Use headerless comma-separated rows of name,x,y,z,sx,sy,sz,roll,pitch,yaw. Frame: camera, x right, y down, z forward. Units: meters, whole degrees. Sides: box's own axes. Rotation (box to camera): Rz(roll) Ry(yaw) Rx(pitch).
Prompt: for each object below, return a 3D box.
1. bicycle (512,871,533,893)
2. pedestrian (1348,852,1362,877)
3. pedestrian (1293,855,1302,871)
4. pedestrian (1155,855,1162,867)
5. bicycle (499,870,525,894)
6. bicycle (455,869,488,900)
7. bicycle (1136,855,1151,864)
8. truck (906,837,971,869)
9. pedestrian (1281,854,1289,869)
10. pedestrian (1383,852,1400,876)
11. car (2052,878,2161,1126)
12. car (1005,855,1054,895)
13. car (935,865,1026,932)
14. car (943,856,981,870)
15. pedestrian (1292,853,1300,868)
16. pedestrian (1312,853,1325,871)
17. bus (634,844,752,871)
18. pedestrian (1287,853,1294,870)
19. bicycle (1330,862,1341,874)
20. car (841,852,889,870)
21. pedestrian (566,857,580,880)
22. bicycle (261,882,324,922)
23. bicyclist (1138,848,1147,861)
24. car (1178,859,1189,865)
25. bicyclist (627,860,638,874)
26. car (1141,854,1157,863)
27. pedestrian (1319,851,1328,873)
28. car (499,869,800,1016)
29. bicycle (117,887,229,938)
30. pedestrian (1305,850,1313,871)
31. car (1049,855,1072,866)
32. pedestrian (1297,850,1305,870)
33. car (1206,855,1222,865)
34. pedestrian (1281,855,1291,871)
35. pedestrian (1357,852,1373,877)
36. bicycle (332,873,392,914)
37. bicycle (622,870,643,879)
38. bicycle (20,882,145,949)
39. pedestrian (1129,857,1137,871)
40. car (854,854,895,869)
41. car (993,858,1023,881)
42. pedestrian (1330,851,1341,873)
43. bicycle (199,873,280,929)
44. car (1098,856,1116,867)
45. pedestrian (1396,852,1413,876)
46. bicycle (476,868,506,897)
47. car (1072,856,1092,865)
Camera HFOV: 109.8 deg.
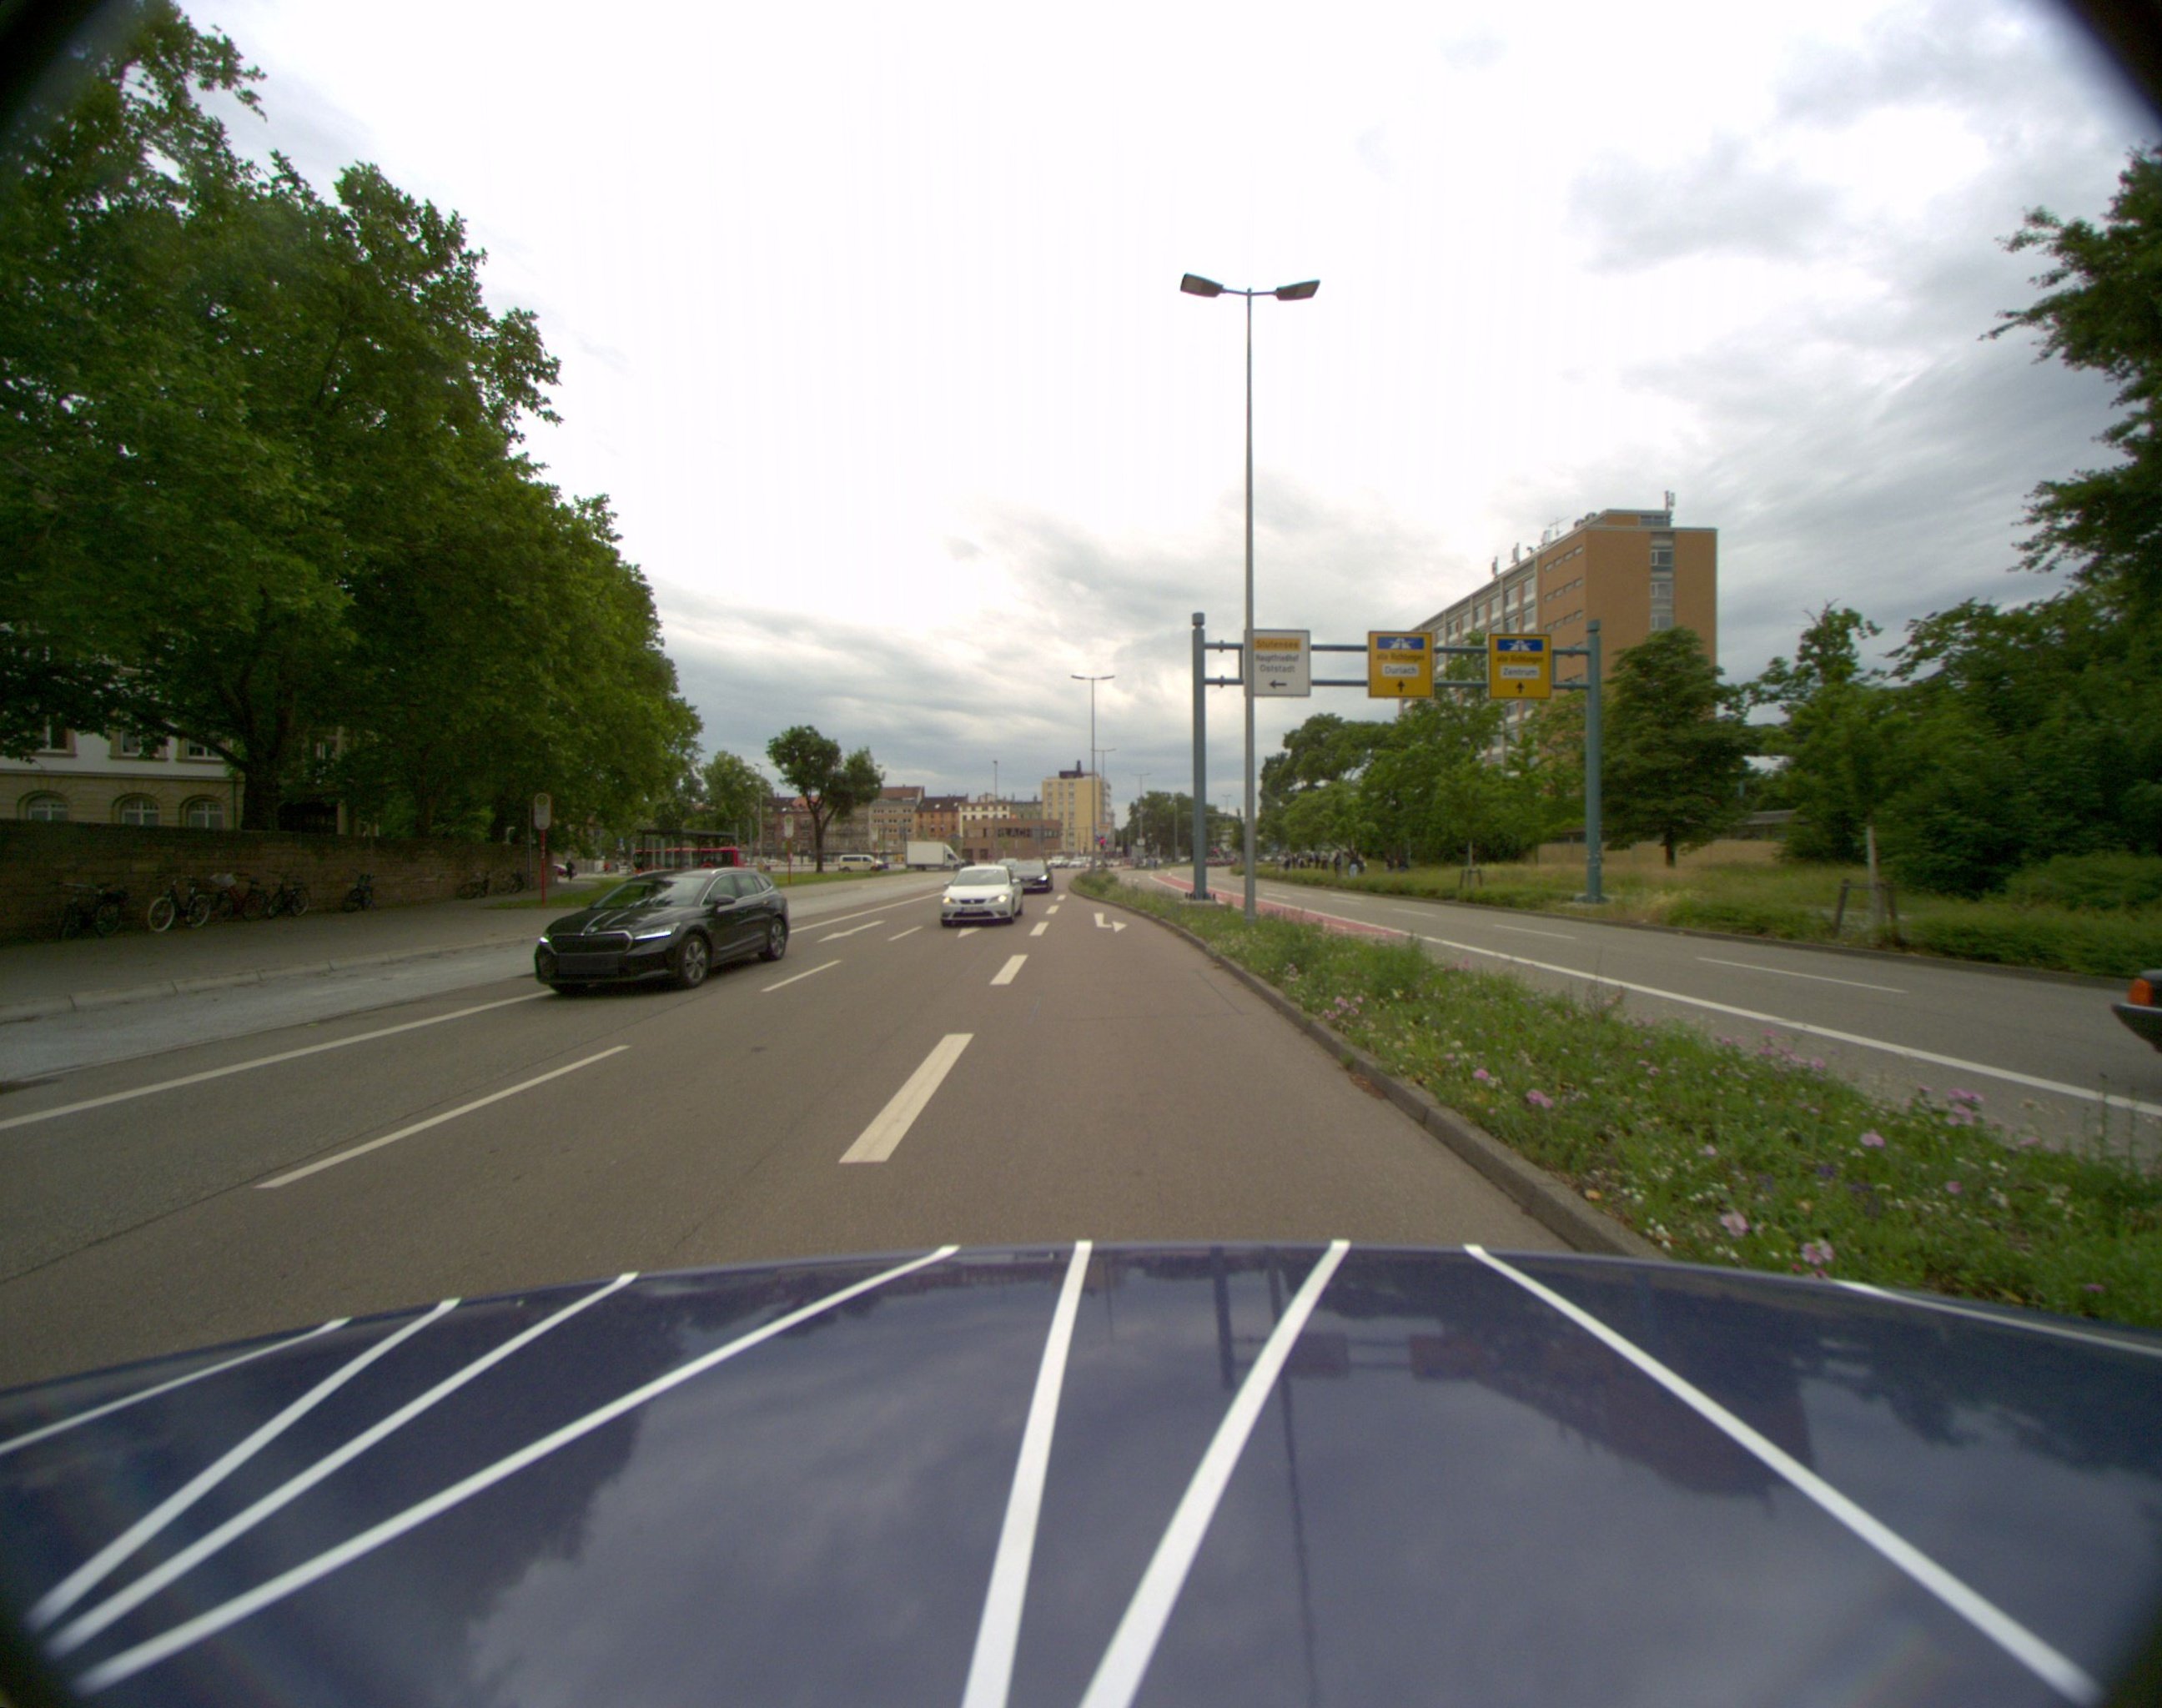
bicycle,-26.371,1.318,35.874,0.552,0.986,1.633,1,0,-28
pedestrian,18.168,0.698,50.452,0.587,1.650,0.720,1,0,-5
pedestrian,20.101,0.809,70.697,0.637,1.471,0.762,1,0,4
pedestrian,10.189,0.905,99.814,0.777,1.657,0.706,1,0,-8
bicycle,-25.659,1.256,34.304,0.596,1.053,1.709,1,0,-25
bicycle,-23.672,1.182,29.546,0.596,1.129,1.709,1,0,-25
bicycle,8.417,0.776,102.093,2.005,1.136,0.807,1,0,2
truck,-15.927,-0.181,85.392,6.852,3.392,2.559,-1,2,-5
pedestrian,22.906,0.837,85.251,0.708,1.661,0.943,-1,0,4
pedestrian,17.765,0.570,43.438,0.646,1.350,0.711,1,0,-1
car,7.312,0.915,2.603,1.768,1.452,4.791,1,0,-1
car,-2.231,0.880,33.954,1.888,1.591,4.446,-3,0,-1
car,-2.484,1.066,19.671,1.786,1.454,3.871,-2,0,0
car,-14.226,1.053,90.906,4.290,1.628,1.687,1,0,-20
pedestrian,24.120,0.765,85.326,0.708,1.661,0.890,-2,0,4
pedestrian,21.524,0.765,68.837,0.635,1.603,0.829,-2,0,-21
bus,-45.255,0.432,88.984,12.091,2.891,2.937,-1,0,-3
pedestrian,22.359,0.787,81.135,0.638,1.790,0.762,-1,0,4
bicycle,18.548,0.999,55.395,0.661,0.882,1.717,1,0,16
car,-24.073,0.774,84.817,4.712,1.909,1.919,-1,3,-3
pedestrian,-37.510,1.064,56.077,0.759,1.725,0.821,1,0,-39
bicycle,-20.042,1.207,19.356,0.417,0.937,1.523,1,0,-17
bicyclist,8.229,0.090,102.095,1.191,1.725,0.807,1,0,2
car,21.985,1.657,162.680,1.782,1.254,3.536,-1,0,19
bicyclist,-47.988,1.376,81.279,0.740,1.499,0.767,1,0,-10
car,12.050,0.766,134.535,1.606,1.586,3.766,1,0,25
pedestrian,17.689,0.595,55.462,0.575,1.599,0.617,1,0,16
car,-6.033,1.110,11.412,1.912,1.615,4.490,-2,0,0
bicycle,-19.037,1.202,15.987,0.656,0.945,1.767,1,0,-17
pedestrian,19.370,0.555,64.479,0.579,1.702,0.763,1,0,14
car,-2.729,0.846,102.182,1.816,1.466,4.039,1,0,20
pedestrian,18.654,0.544,64.454,0.622,1.685,0.747,1,0,12
car,22.812,0.974,129.998,1.812,1.657,3.955,1,1,23
pedestrian,19.132,0.796,70.851,0.730,1.471,0.813,1,0,4
pedestrian,18.849,0.712,50.478,0.709,1.662,0.767,1,0,-5
bicycle,-20.506,1.105,21.701,0.599,1.098,1.652,1,0,-19
bicycle,-47.983,2.164,81.278,1.695,0.910,0.767,1,0,-10
bicycle,-18.399,1.101,14.056,0.722,1.093,1.788,1,0,-28
pedestrian,6.785,1.302,99.392,0.917,1.794,0.541,1,0,17
car,-24.466,0.891,89.970,4.430,1.735,1.764,1,0,-4
car,-5.143,1.062,53.783,1.671,1.457,3.659,-1,0,0
pedestrian,18.554,0.595,55.392,0.661,1.622,0.764,1,0,16
bicycle,-19.586,1.063,17.726,0.501,1.214,1.624,1,0,-17
car,4.263,1.287,124.751,1.835,1.753,3.917,1,0,18
pedestrian,18.518,0.566,43.454,0.646,1.354,0.680,1,0,-2
bicycle,-24.222,1.174,31.201,0.596,1.122,1.709,1,0,-25
car,0.117,0.943,111.922,1.515,1.382,3.438,1,0,26
